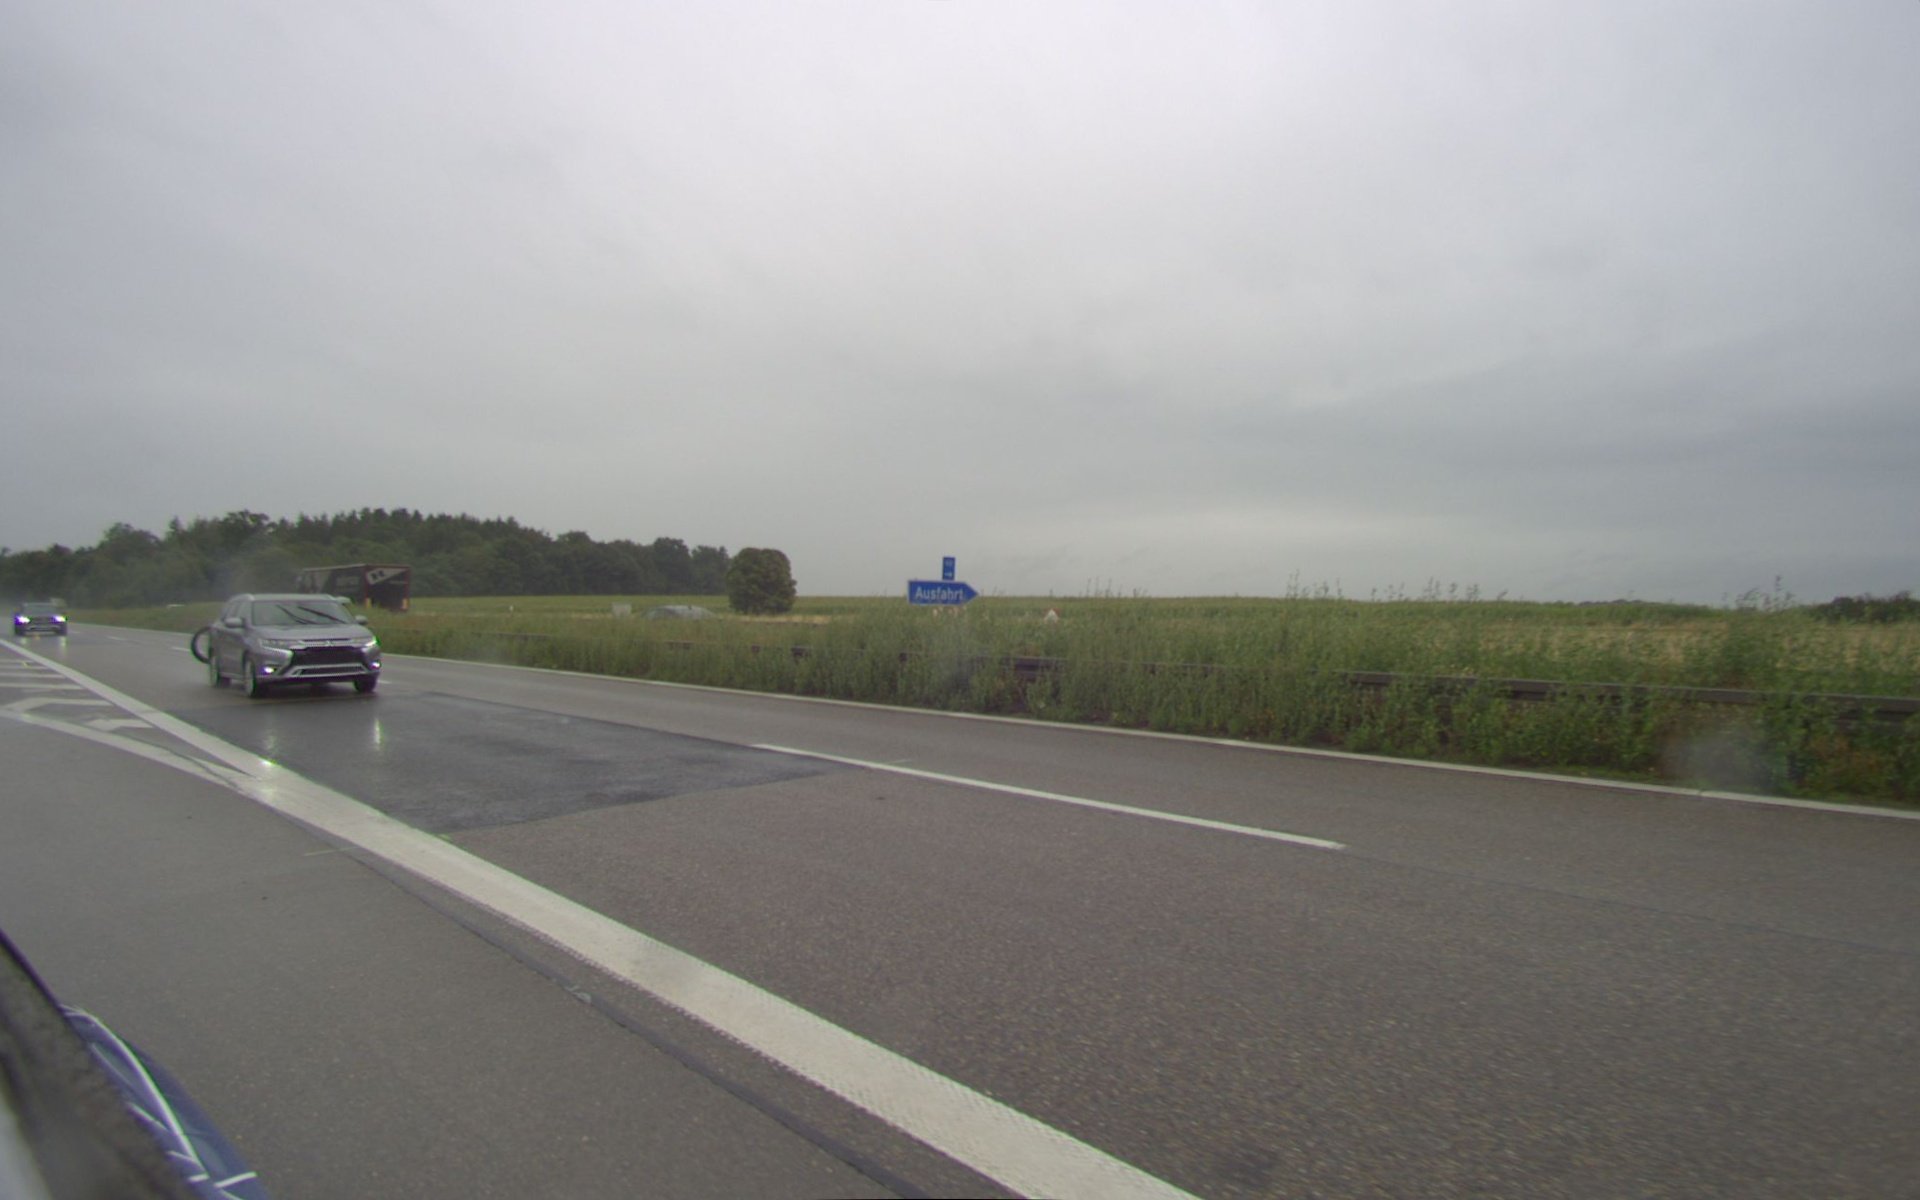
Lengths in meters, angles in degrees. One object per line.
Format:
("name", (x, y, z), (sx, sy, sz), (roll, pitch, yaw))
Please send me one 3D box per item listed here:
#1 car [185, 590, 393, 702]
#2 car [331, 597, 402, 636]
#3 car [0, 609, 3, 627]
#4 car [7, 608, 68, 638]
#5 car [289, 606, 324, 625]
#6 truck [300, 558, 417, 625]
("car", (-11.621, 0.695, 17.363), (5.101, 1.646, 1.842), (-1, 0, 43))
("car", (-31.032, 0.828, 52.837), (4.533, 1.890, 2.081), (-1, 1, 44))
("car", (-88.928, 1.618, 92.408), (4.597, 1.648, 2.121), (-1, -1, 45))
("car", (-47.703, 1.173, 52.307), (4.597, 1.465, 2.070), (-1, -1, 45))
("car", (-62.440, 1.450, 96.647), (3.998, 1.750, 1.712), (-1, 0, 41))
("truck", (-39.628, -0.504, 66.323), (13.820, 3.996, 3.158), (-1, 1, 45))
